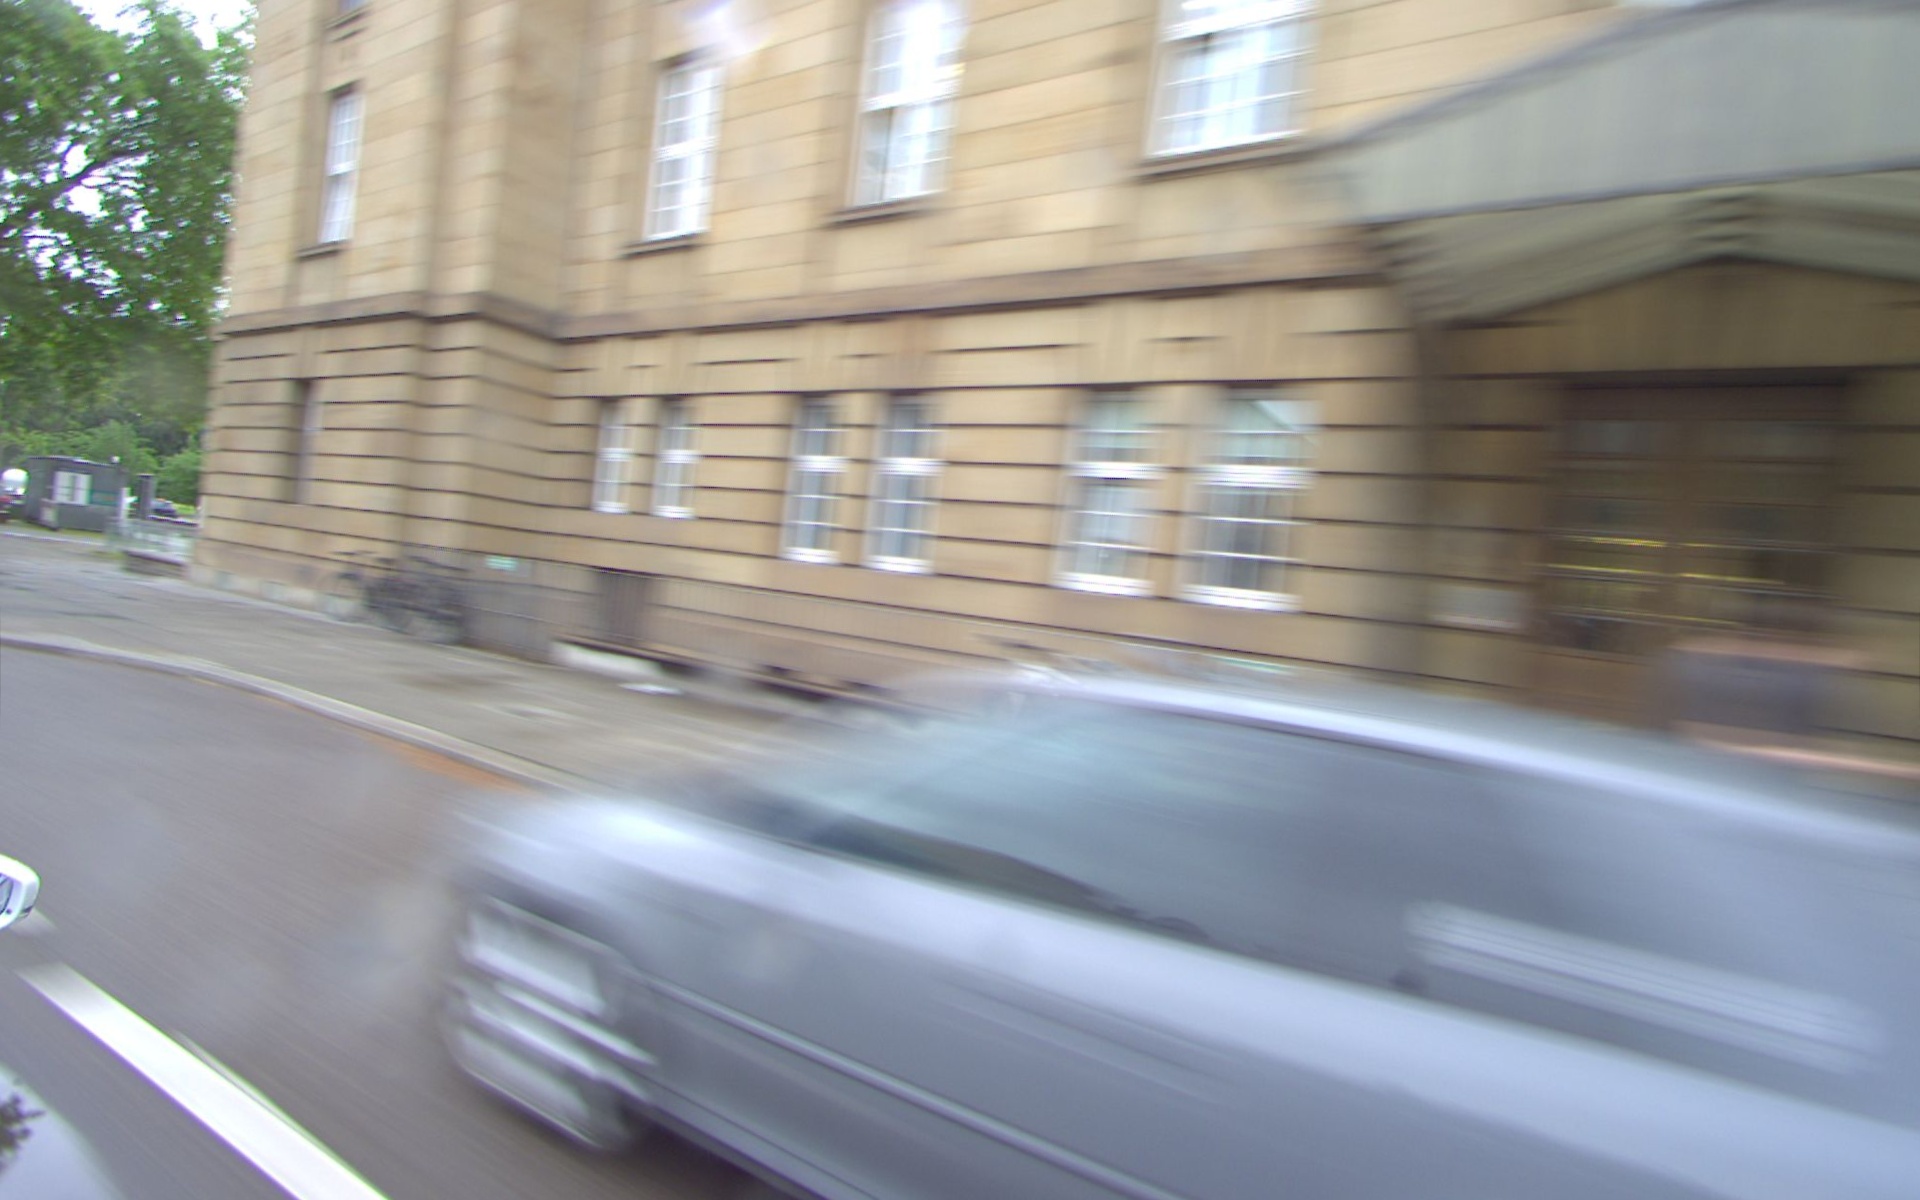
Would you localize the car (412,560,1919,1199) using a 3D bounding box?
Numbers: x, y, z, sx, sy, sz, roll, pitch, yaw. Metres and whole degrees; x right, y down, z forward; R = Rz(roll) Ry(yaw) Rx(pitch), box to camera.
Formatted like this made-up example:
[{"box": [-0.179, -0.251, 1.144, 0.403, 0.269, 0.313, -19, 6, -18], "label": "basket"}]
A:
[{"box": [0.600, 0.860, 2.556, 3.643, 1.496, 1.933, 6, -1, 34], "label": "car"}]

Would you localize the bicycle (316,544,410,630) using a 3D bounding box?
[{"box": [-8.506, -0.197, 14.314, 1.760, 1.094, 0.352, 6, 2, 33], "label": "bicycle"}]

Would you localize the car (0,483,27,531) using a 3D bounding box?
[{"box": [-37.687, -3.775, 38.207, 5.150, 1.629, 1.996, 8, 0, 33], "label": "car"}]

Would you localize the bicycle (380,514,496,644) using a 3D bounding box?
[{"box": [-6.849, -0.293, 13.171, 1.573, 1.533, 0.454, 7, -1, 32], "label": "bicycle"}]

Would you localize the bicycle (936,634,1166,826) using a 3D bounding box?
[{"box": [0.689, 0.980, 7.943, 1.663, 1.230, 0.464, 6, 0, 32], "label": "bicycle"}]

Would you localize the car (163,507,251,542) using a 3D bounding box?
[{"box": [-46.698, -4.671, 62.463, 1.631, 1.620, 3.984, 7, 1, 36], "label": "car"}]

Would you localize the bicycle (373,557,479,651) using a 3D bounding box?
[{"box": [-7.170, 0.038, 13.475, 1.760, 1.093, 0.352, 6, -1, 33], "label": "bicycle"}]

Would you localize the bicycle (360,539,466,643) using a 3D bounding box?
[{"box": [-7.649, -0.137, 14.046, 1.573, 1.265, 0.454, 7, -1, 32], "label": "bicycle"}]
